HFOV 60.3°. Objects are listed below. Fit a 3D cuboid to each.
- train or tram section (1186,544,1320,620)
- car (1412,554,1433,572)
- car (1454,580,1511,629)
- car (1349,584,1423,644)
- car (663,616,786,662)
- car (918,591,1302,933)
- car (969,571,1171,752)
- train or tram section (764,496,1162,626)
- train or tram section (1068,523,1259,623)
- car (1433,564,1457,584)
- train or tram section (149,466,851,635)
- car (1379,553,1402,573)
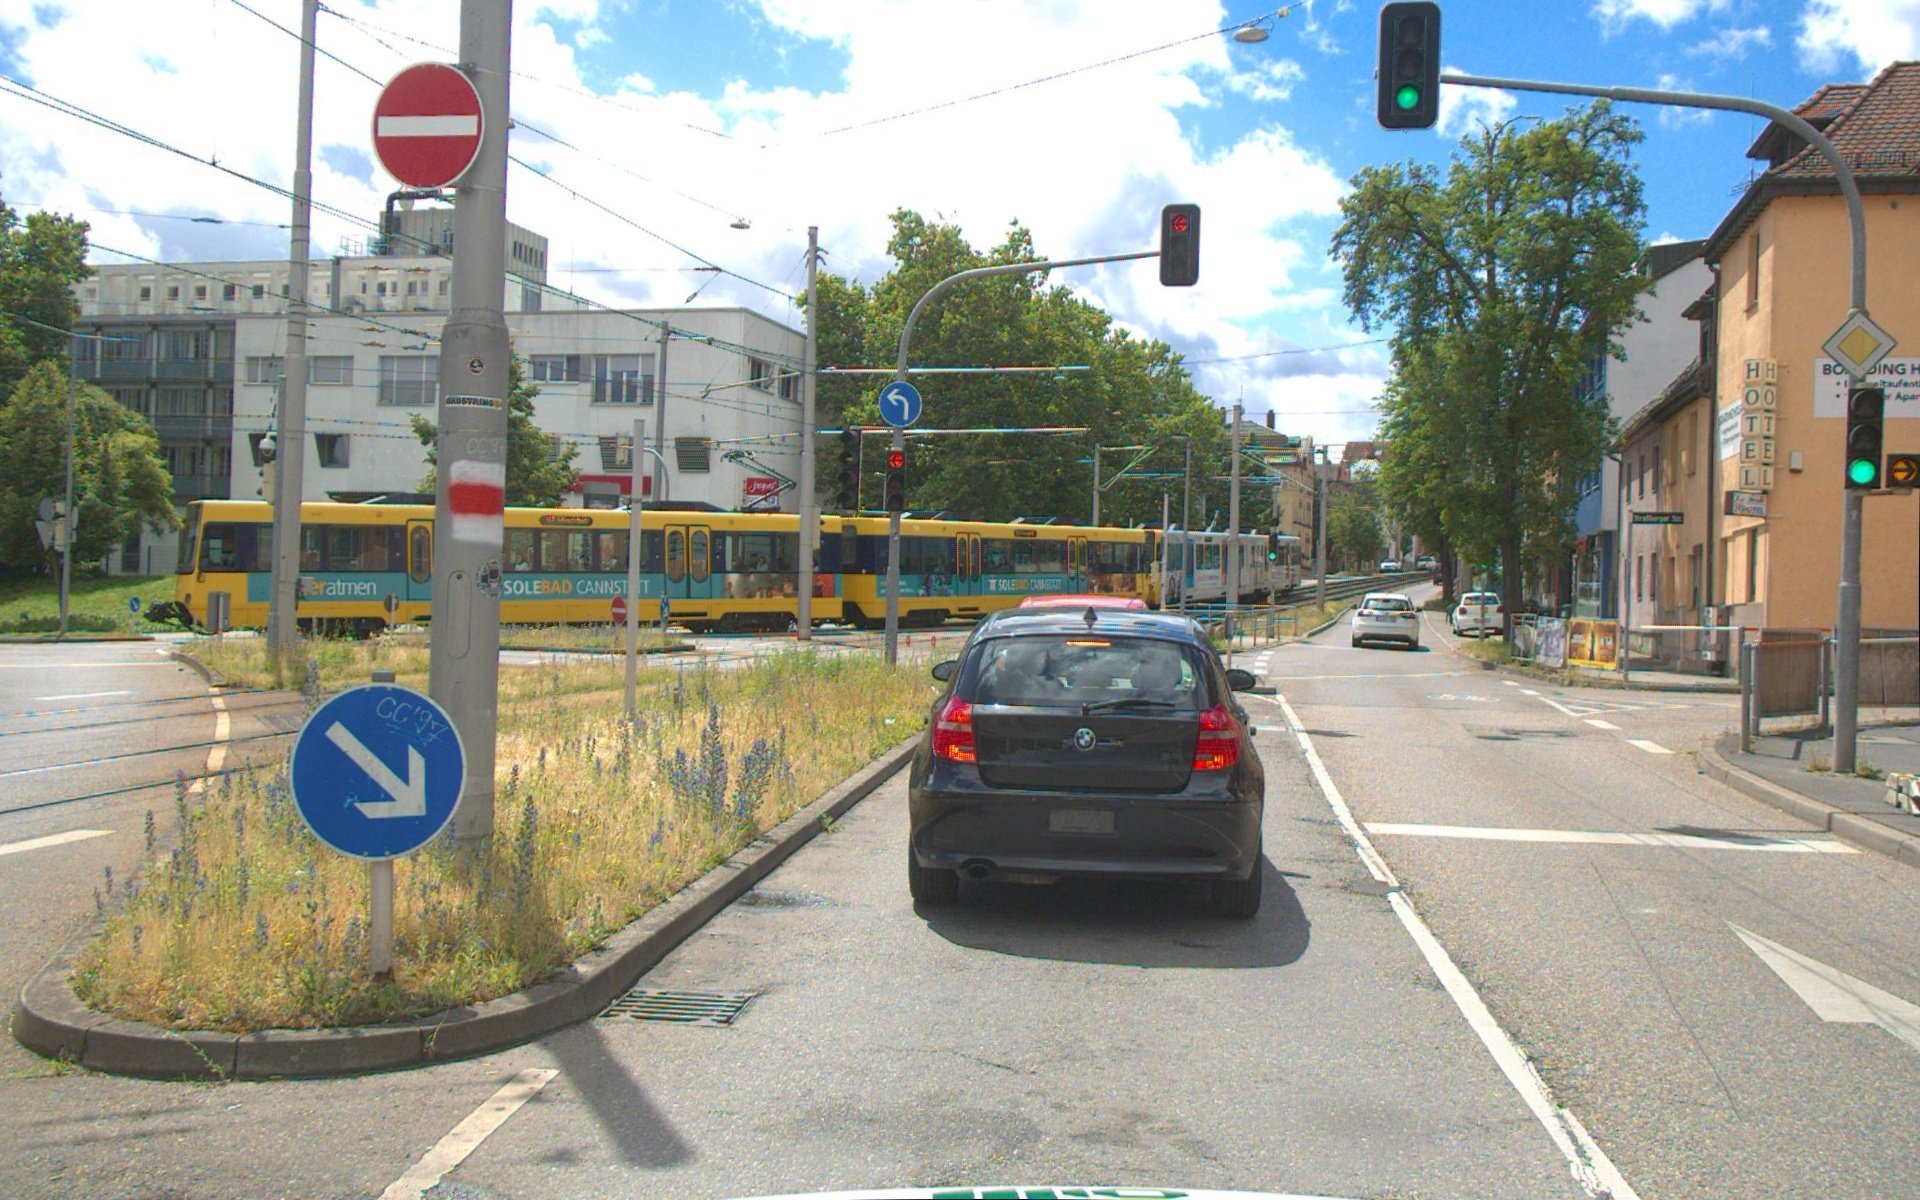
[{"bbox_3d":[17.132,-0.856,94.685,3.672,3.881,20.049,-1,-1,21],"label":"train or tram section"},{"bbox_3d":[58.195,-4.658,208.043,1.953,2.049,3.998,-1,-1,24],"label":"car"},{"bbox_3d":[18.334,0.174,58.133,1.749,1.624,4.003,0,-1,15],"label":"car"},{"bbox_3d":[11.884,0.356,46.310,1.777,1.494,4.004,3,1,12],"label":"car"},{"bbox_3d":[-8.489,1.384,59.815,4.133,1.613,1.831,0,-1,-41],"label":"car"},{"bbox_3d":[0.655,0.725,9.205,1.666,1.477,4.000,0,-1,0],"label":"car"},{"bbox_3d":[1.162,0.533,15.805,1.590,1.499,4.003,0,-1,8],"label":"car"},{"bbox_3d":[0.981,-1.087,58.983,3.684,3.896,20.085,-1,-1,34],"label":"train or tram section"},{"bbox_3d":[9.871,-0.986,76.124,3.672,3.947,20.633,-1,-1,22],"label":"train or tram section"},{"bbox_3d":[39.915,-2.105,136.057,1.777,1.494,4.003,3,1,16],"label":"car"},{"bbox_3d":[-11.947,-1.126,45.877,18.674,3.988,3.716,0,-1,-35],"label":"train or tram section"},{"bbox_3d":[49.204,-4.228,189.067,1.953,2.049,3.998,-1,-1,24],"label":"car"}]
